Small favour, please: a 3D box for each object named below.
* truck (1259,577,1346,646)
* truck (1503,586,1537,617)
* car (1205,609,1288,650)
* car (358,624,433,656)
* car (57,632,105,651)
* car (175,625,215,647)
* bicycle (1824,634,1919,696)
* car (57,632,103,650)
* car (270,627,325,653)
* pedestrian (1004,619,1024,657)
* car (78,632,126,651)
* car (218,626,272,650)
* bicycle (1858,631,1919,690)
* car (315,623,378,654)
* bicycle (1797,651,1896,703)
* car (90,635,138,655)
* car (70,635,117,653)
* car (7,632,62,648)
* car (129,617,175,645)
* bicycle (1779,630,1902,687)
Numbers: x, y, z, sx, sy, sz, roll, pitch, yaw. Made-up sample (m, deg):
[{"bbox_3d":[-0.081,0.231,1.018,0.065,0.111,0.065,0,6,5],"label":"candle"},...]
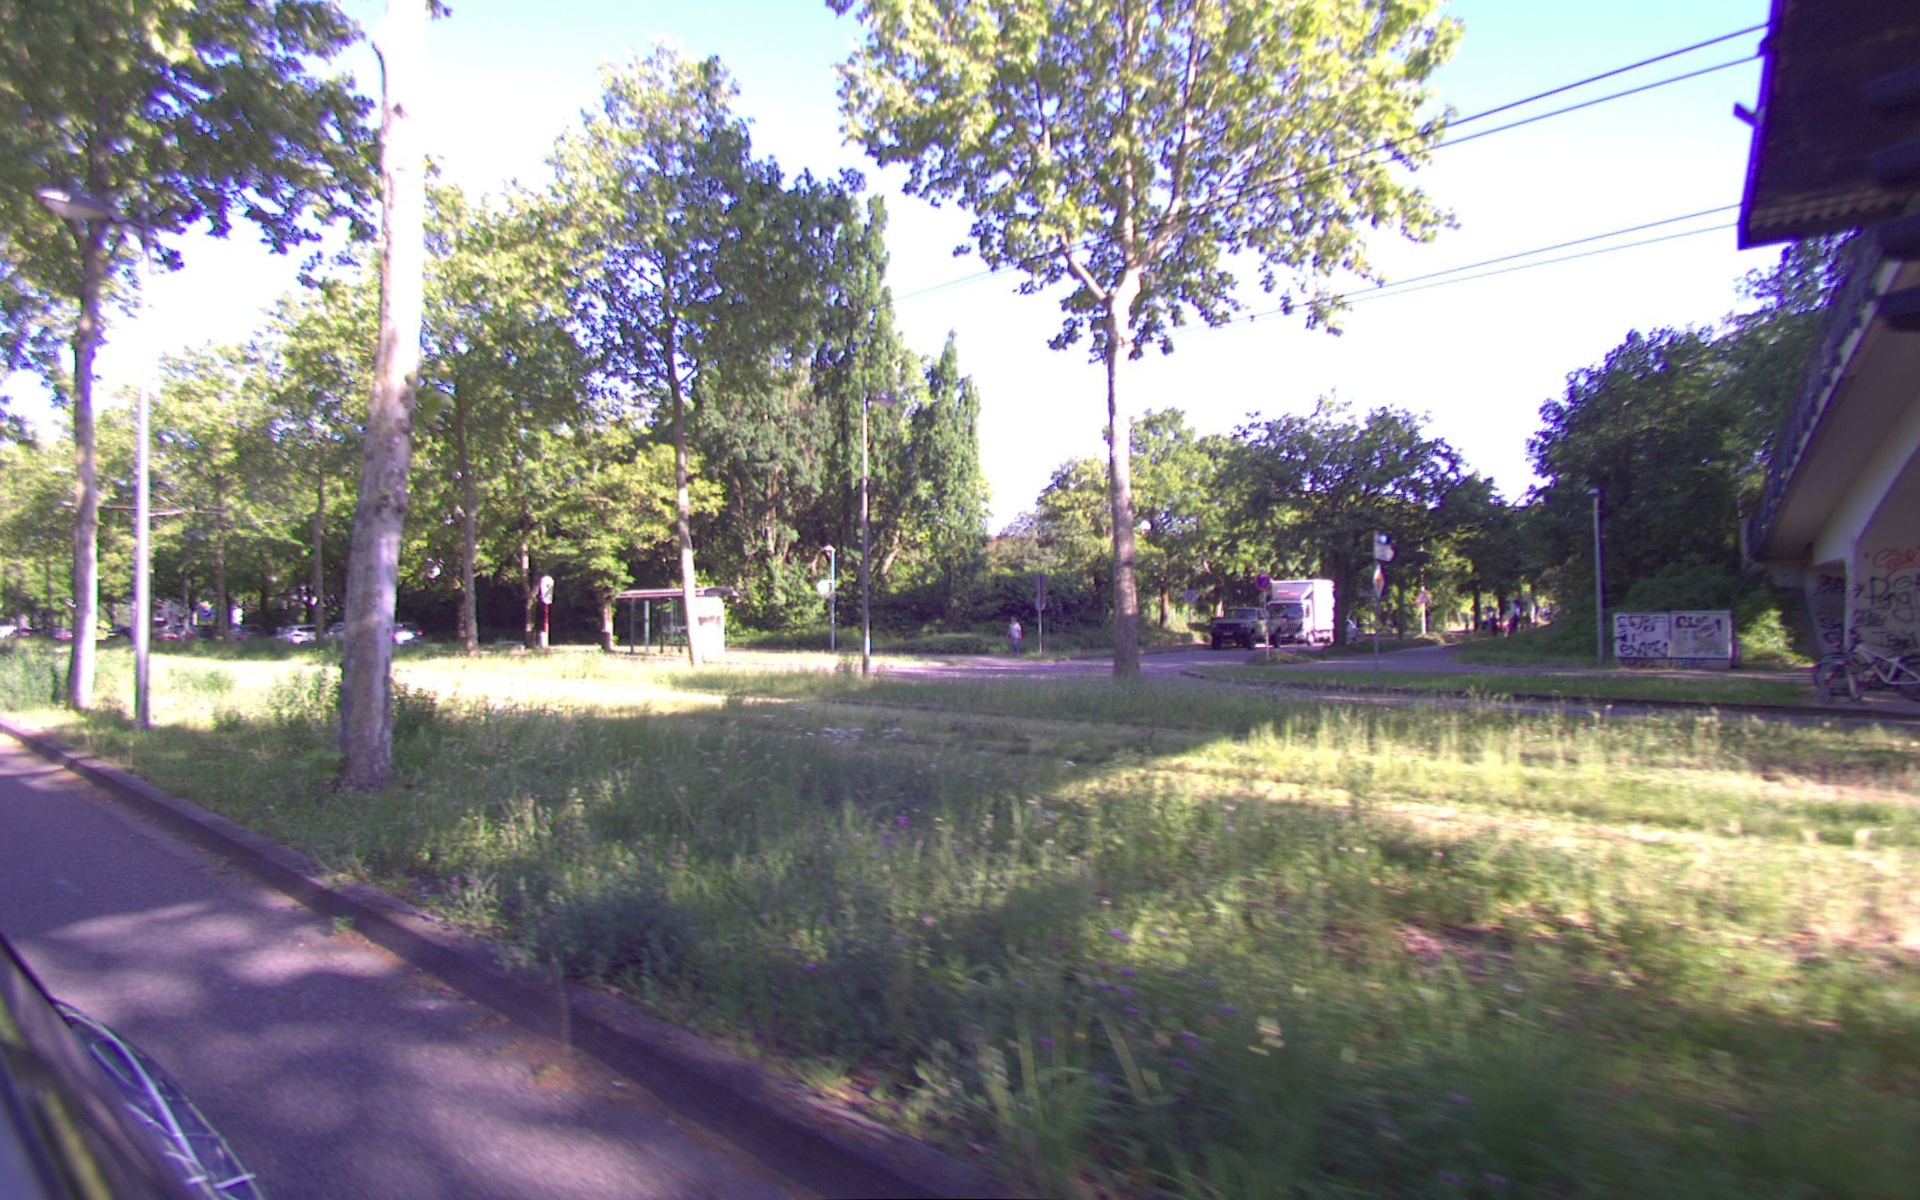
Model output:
[{"bbox_3d":[20.259,0.685,59.493,2.740,3.779,8.418,-1,-1,34],"label":"truck"},{"bbox_3d":[59.251,0.142,106.964,2.518,3.218,6.465,-1,0,34],"label":"truck"},{"bbox_3d":[14.565,1.450,51.180,2.220,1.963,6.081,-1,-1,34],"label":"car"},{"bbox_3d":[-30.094,2.083,53.915,4.623,1.499,1.879,-1,2,40],"label":"car"},{"bbox_3d":[-89.055,4.186,102.552,1.868,1.722,4.513,-1,0,-15],"label":"car"},{"bbox_3d":[-56.928,2.670,75.321,3.566,1.499,1.526,-2,2,39],"label":"car"},{"bbox_3d":[15.699,1.088,17.060,1.685,1.016,0.429,-2,-1,41],"label":"bicycle"},{"bbox_3d":[-93.341,4.296,107.353,1.868,1.722,4.513,-1,0,-15],"label":"car"},{"bbox_3d":[-40.848,2.428,62.347,4.020,1.429,1.702,-1,2,40],"label":"car"},{"bbox_3d":[2.184,1.521,40.937,0.526,1.502,0.589,-1,0,-32],"label":"pedestrian"},{"bbox_3d":[-86.389,4.127,101.944,1.868,1.722,4.513,-1,0,-15],"label":"car"},{"bbox_3d":[-48.725,2.577,68.926,4.173,1.499,1.821,-2,2,38],"label":"car"},{"bbox_3d":[16.980,1.064,17.832,1.685,1.016,0.429,-2,-1,41],"label":"bicycle"},{"bbox_3d":[-35.168,2.180,57.974,4.186,1.608,1.797,-1,2,40],"label":"car"},{"bbox_3d":[14.322,1.238,16.378,1.173,0.784,0.429,-2,-1,41],"label":"bicycle"},{"bbox_3d":[-76.743,4.094,91.861,1.857,1.579,4.011,-1,0,-15],"label":"car"},{"bbox_3d":[-82.888,4.196,96.894,1.857,1.579,4.011,-1,0,-15],"label":"car"},{"bbox_3d":[-106.899,4.596,116.952,1.877,1.722,4.490,-1,0,7],"label":"car"},{"bbox_3d":[-66.330,2.539,83.071,4.273,2.072,1.963,-1,2,39],"label":"car"},{"bbox_3d":[16.386,1.073,18.884,1.685,1.016,0.429,-2,-1,41],"label":"bicycle"}]
